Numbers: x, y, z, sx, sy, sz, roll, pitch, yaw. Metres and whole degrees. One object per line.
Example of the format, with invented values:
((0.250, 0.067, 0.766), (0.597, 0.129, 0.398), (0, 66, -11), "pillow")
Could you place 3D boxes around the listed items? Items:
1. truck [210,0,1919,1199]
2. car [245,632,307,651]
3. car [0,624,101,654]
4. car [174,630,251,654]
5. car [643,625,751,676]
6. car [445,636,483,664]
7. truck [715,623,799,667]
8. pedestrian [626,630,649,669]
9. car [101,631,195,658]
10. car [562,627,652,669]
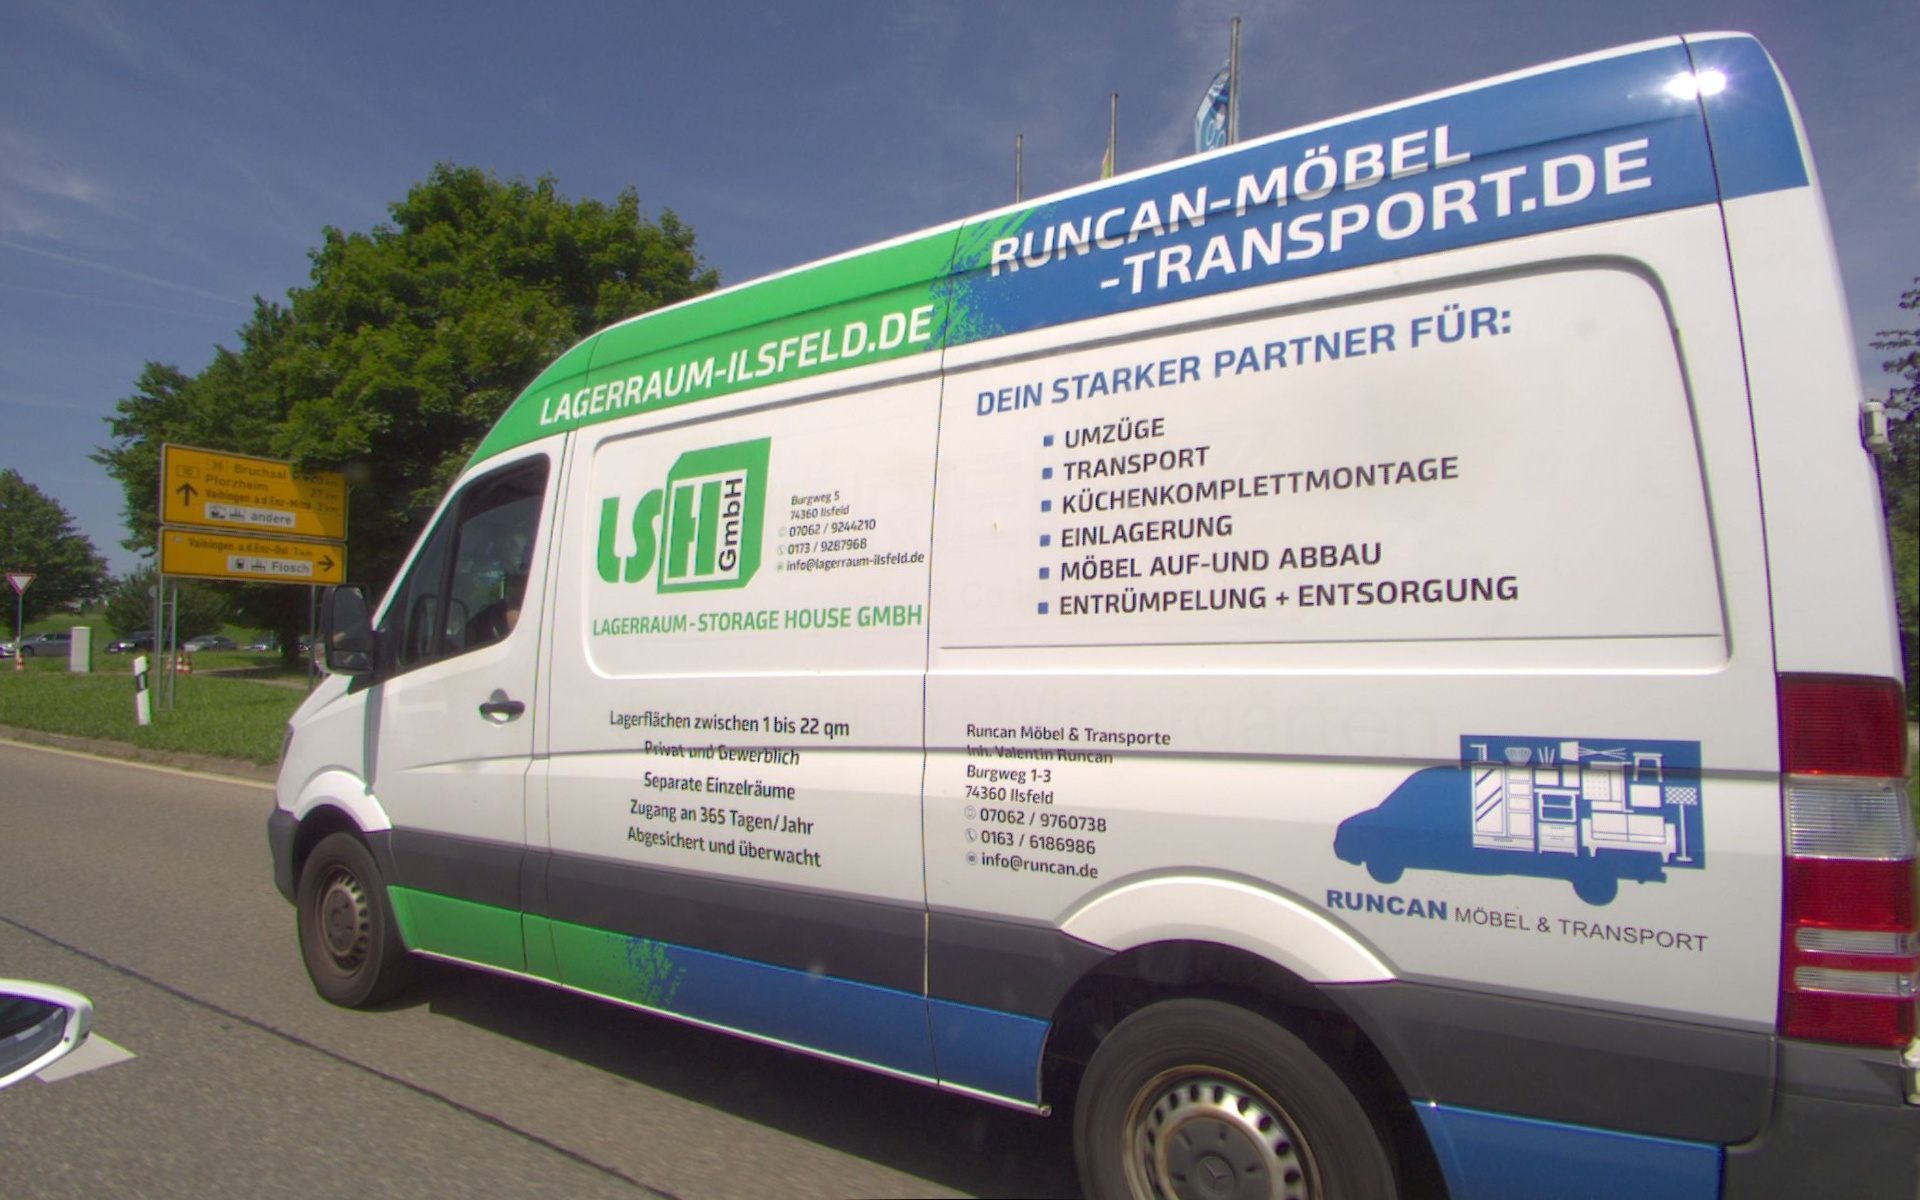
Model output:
((-0.318, 0.179, 3.765), (5.859, 2.772, 2.063), (-2, -2, 32), "truck")
((-49.855, 3.045, 73.099), (1.766, 1.289, 4.563), (0, -2, -6), "car")
((-49.378, 2.158, 54.038), (1.766, 1.528, 4.564), (-1, -3, 7), "car")
((-49.356, 2.768, 66.228), (1.766, 1.529, 4.565), (-1, -2, -1), "car")
((-9.266, 1.744, 35.043), (1.977, 1.642, 4.594), (0, -2, -39), "car")
((-26.370, 2.644, 53.306), (1.732, 1.380, 4.306), (0, -2, -26), "car")
((-9.931, 2.171, 48.713), (1.978, 2.039, 4.773), (1, -3, -41), "truck")
((-12.740, 1.936, 39.581), (0.660, 1.516, 0.716), (1, -2, -40), "pedestrian")
((-48.671, 2.696, 60.142), (1.766, 1.528, 4.566), (-1, -4, 3), "car")
((-14.692, 1.981, 41.542), (2.016, 1.623, 4.902), (0, -2, -39), "car")
